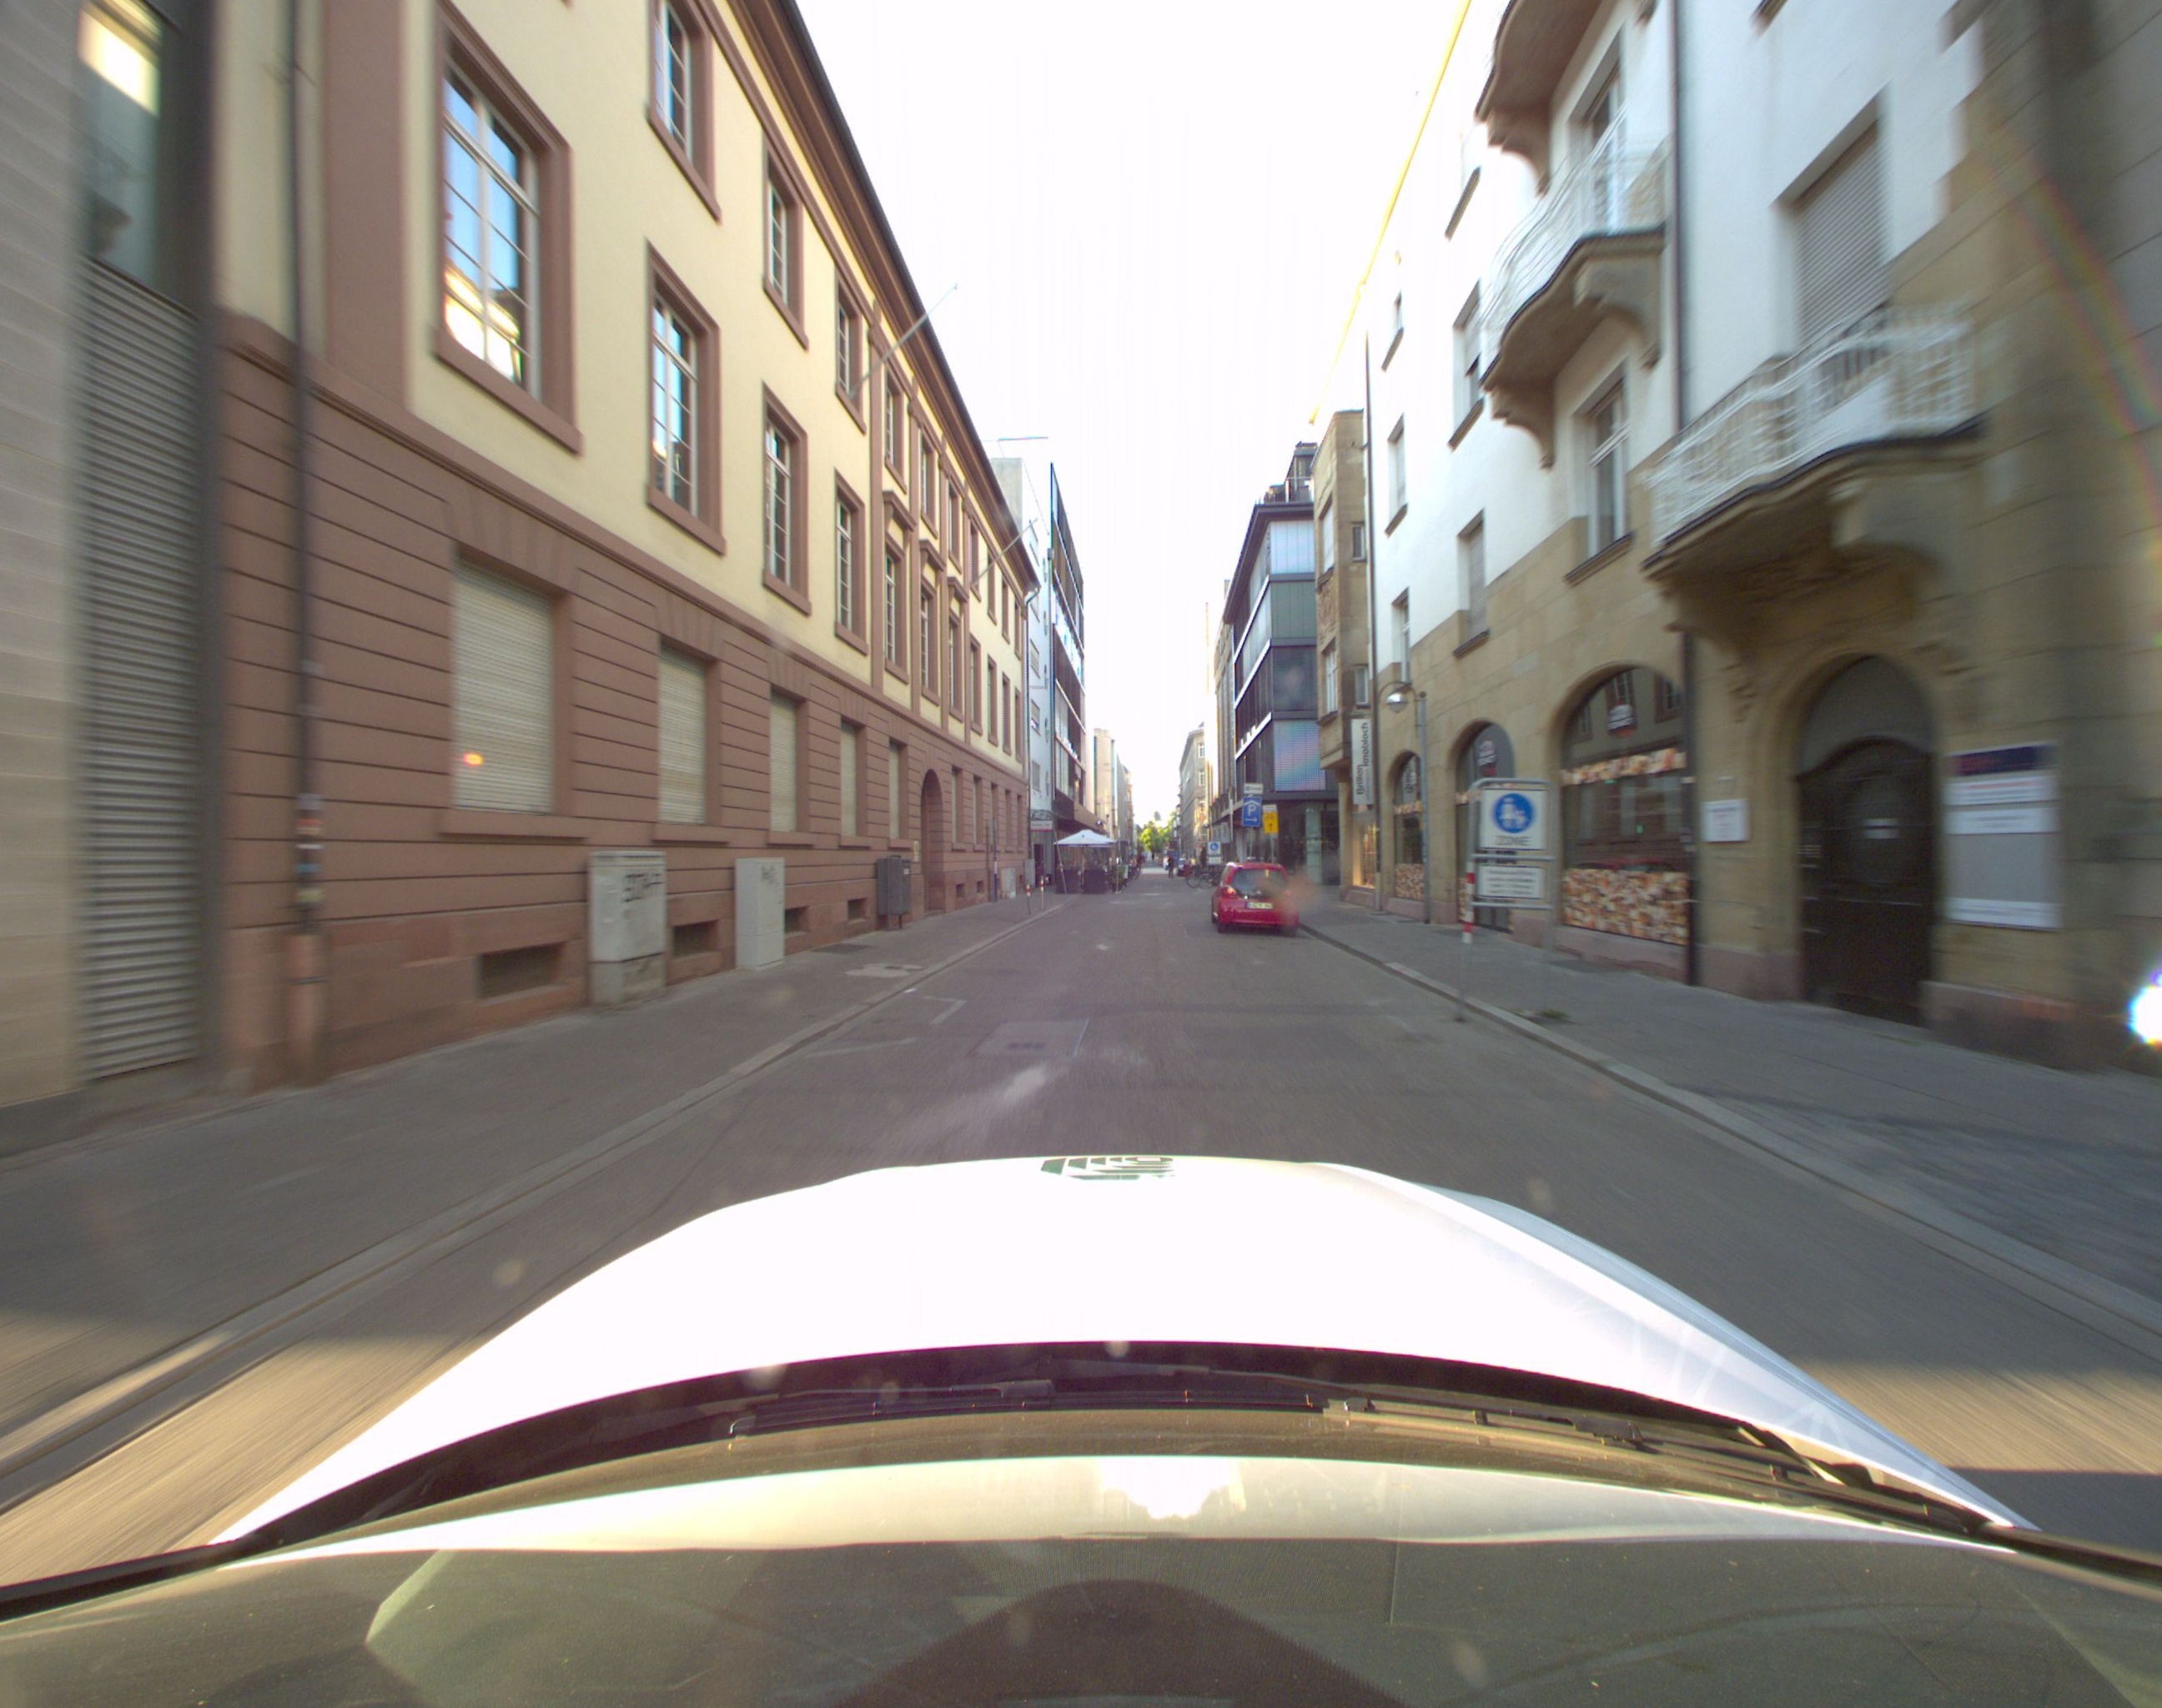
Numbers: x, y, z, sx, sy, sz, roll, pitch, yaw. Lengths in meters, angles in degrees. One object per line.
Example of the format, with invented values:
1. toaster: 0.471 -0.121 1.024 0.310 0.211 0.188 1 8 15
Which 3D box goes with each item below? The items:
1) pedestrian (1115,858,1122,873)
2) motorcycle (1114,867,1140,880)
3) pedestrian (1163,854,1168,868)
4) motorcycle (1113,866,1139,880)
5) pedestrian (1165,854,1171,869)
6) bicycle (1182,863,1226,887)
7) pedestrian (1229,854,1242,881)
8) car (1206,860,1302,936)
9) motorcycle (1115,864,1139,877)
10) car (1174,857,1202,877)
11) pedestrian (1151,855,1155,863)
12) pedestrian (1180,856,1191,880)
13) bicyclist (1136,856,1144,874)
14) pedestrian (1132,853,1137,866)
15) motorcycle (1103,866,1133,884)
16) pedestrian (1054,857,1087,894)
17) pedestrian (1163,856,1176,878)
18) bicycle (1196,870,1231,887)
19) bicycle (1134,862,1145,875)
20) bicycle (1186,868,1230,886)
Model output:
1. pedestrian: 3.991 1.200 87.118 0.603 1.623 0.528 -1 -1 -6
2. motorcycle: 3.257 1.385 57.892 1.795 0.875 0.560 -1 -1 0
3. pedestrian: 9.657 0.828 92.927 0.600 1.623 0.627 -1 -1 7
4. motorcycle: 3.246 1.356 58.926 1.795 0.990 0.560 -1 -1 0
5. pedestrian: 9.858 0.843 92.197 0.600 1.623 0.530 -1 -1 7
6. bicycle: 5.963 1.016 39.572 2.044 1.134 0.649 -1 -1 1
7. pedestrian: 8.610 0.732 45.452 0.653 1.488 0.494 -1 -1 7
8. car: 3.686 0.878 17.865 1.641 1.427 3.541 2 0 6
9. motorcycle: 3.401 1.215 60.564 1.795 0.990 0.560 -1 -1 0
10. car: 8.774 1.047 67.017 1.985 1.611 4.004 -1 0 3
11. pedestrian: 14.860 1.084 167.426 0.800 1.672 0.890 -1 -1 7
12. pedestrian: 7.025 0.920 54.966 0.631 1.620 0.466 -1 -1 -4
13. bicyclist: 5.395 1.006 74.975 0.635 1.641 0.771 -1 -1 -4
14. pedestrian: 7.130 0.749 108.596 0.675 1.623 0.627 -1 -1 7
15. motorcycle: 2.274 1.277 49.814 1.795 1.040 0.494 -1 -1 0
16. pedestrian: -0.436 0.890 33.998 1.285 1.488 0.662 -1 -1 3
17. pedestrian: 7.034 1.007 64.832 0.864 1.713 0.851 -1 -1 -4
18. bicycle: 6.194 1.162 38.083 1.559 0.768 0.557 -1 -1 1
19. bicycle: 5.401 1.290 74.884 0.635 1.157 2.498 -1 0 -4
20. bicycle: 6.557 1.172 42.179 2.192 0.906 0.649 -1 -1 1
